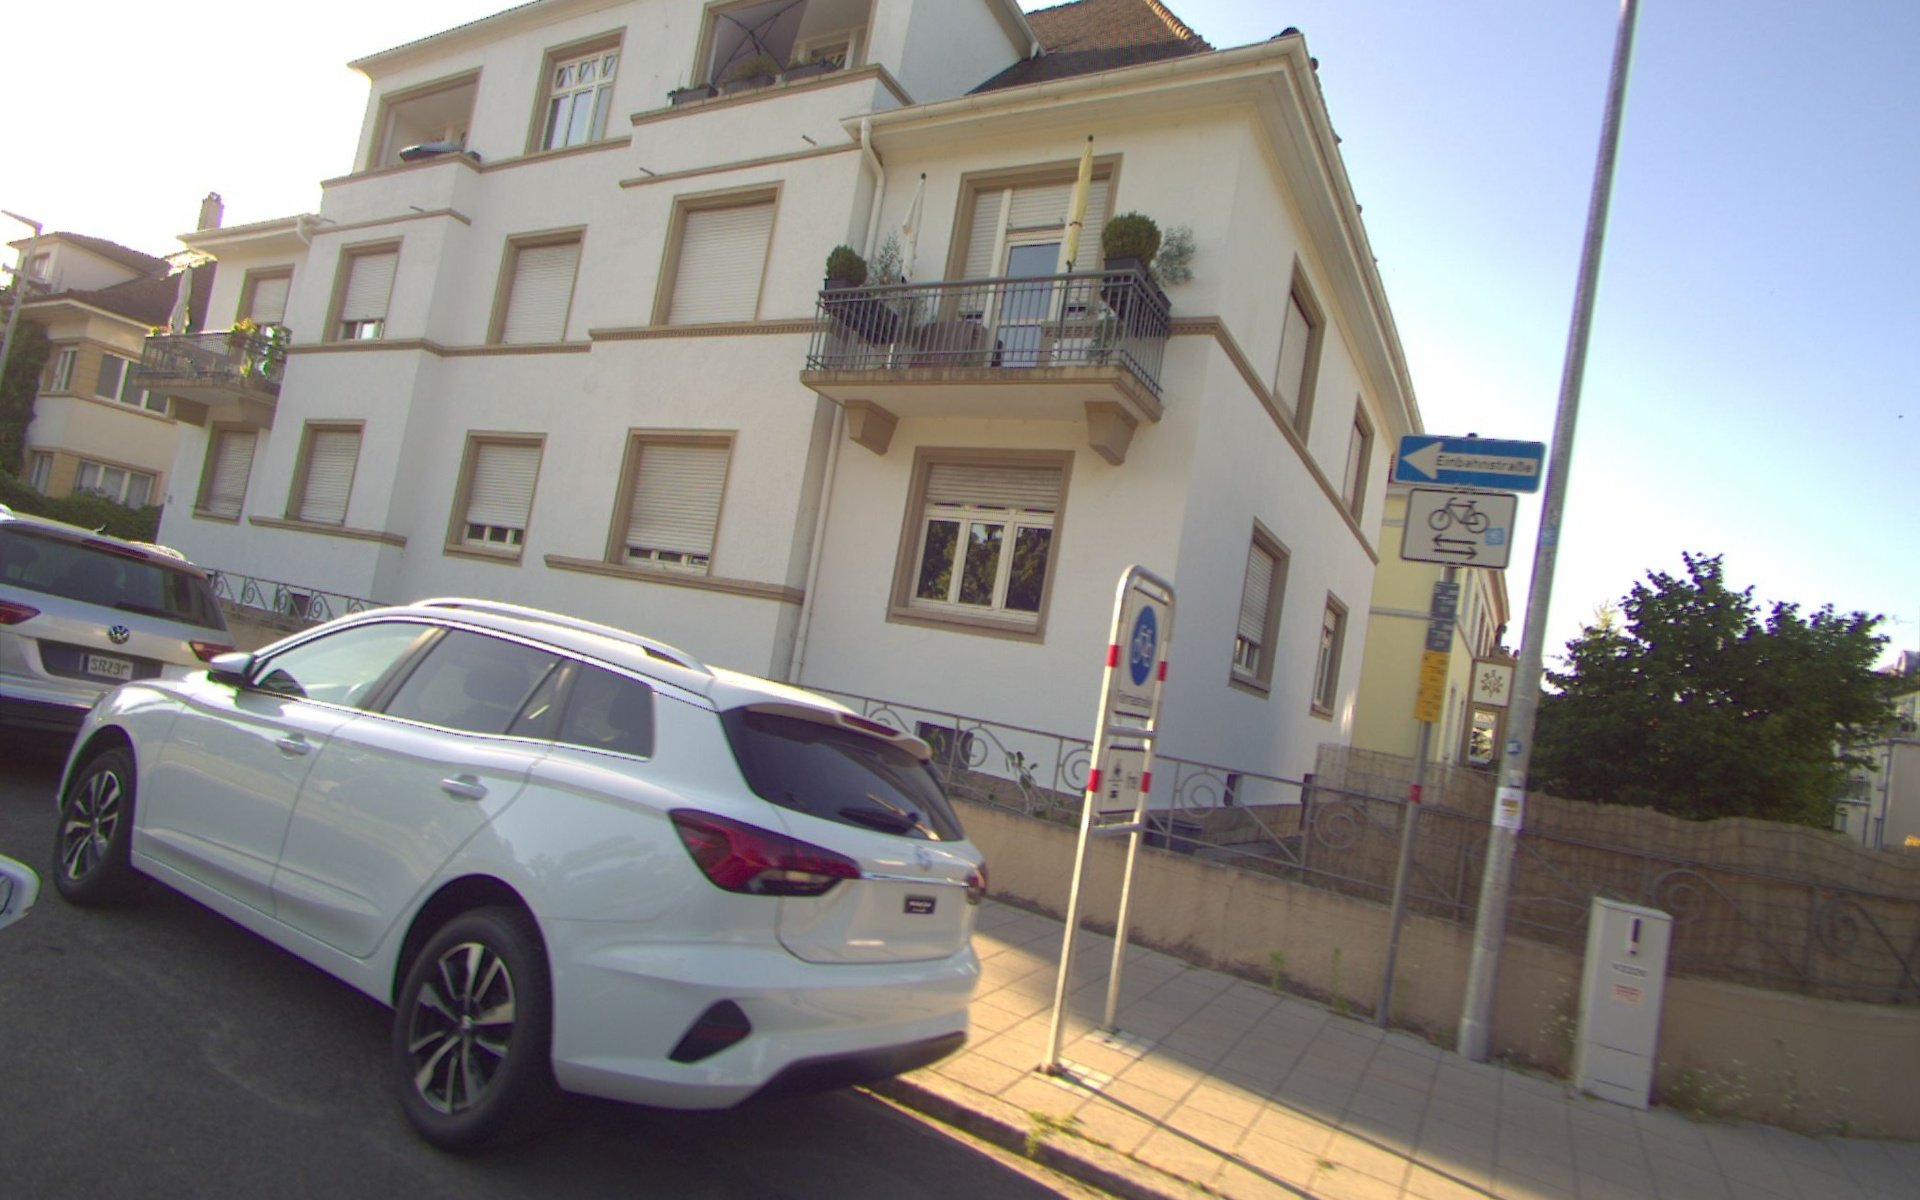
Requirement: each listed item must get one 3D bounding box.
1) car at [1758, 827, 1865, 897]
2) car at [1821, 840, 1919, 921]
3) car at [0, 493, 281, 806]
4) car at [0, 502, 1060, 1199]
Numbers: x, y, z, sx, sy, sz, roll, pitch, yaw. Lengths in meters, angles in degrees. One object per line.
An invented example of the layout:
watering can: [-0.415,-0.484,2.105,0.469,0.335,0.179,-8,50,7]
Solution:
car: [29.900,9.151,35.479,1.750,1.641,4.264,11,-3,28]
car: [27.095,8.212,29.393,1.750,1.640,4.264,12,-3,28]
car: [-6.947,0.128,7.147,4.031,1.663,1.695,8,-9,31]
car: [-1.998,0.753,4.218,4.285,1.621,1.765,8,-4,30]
